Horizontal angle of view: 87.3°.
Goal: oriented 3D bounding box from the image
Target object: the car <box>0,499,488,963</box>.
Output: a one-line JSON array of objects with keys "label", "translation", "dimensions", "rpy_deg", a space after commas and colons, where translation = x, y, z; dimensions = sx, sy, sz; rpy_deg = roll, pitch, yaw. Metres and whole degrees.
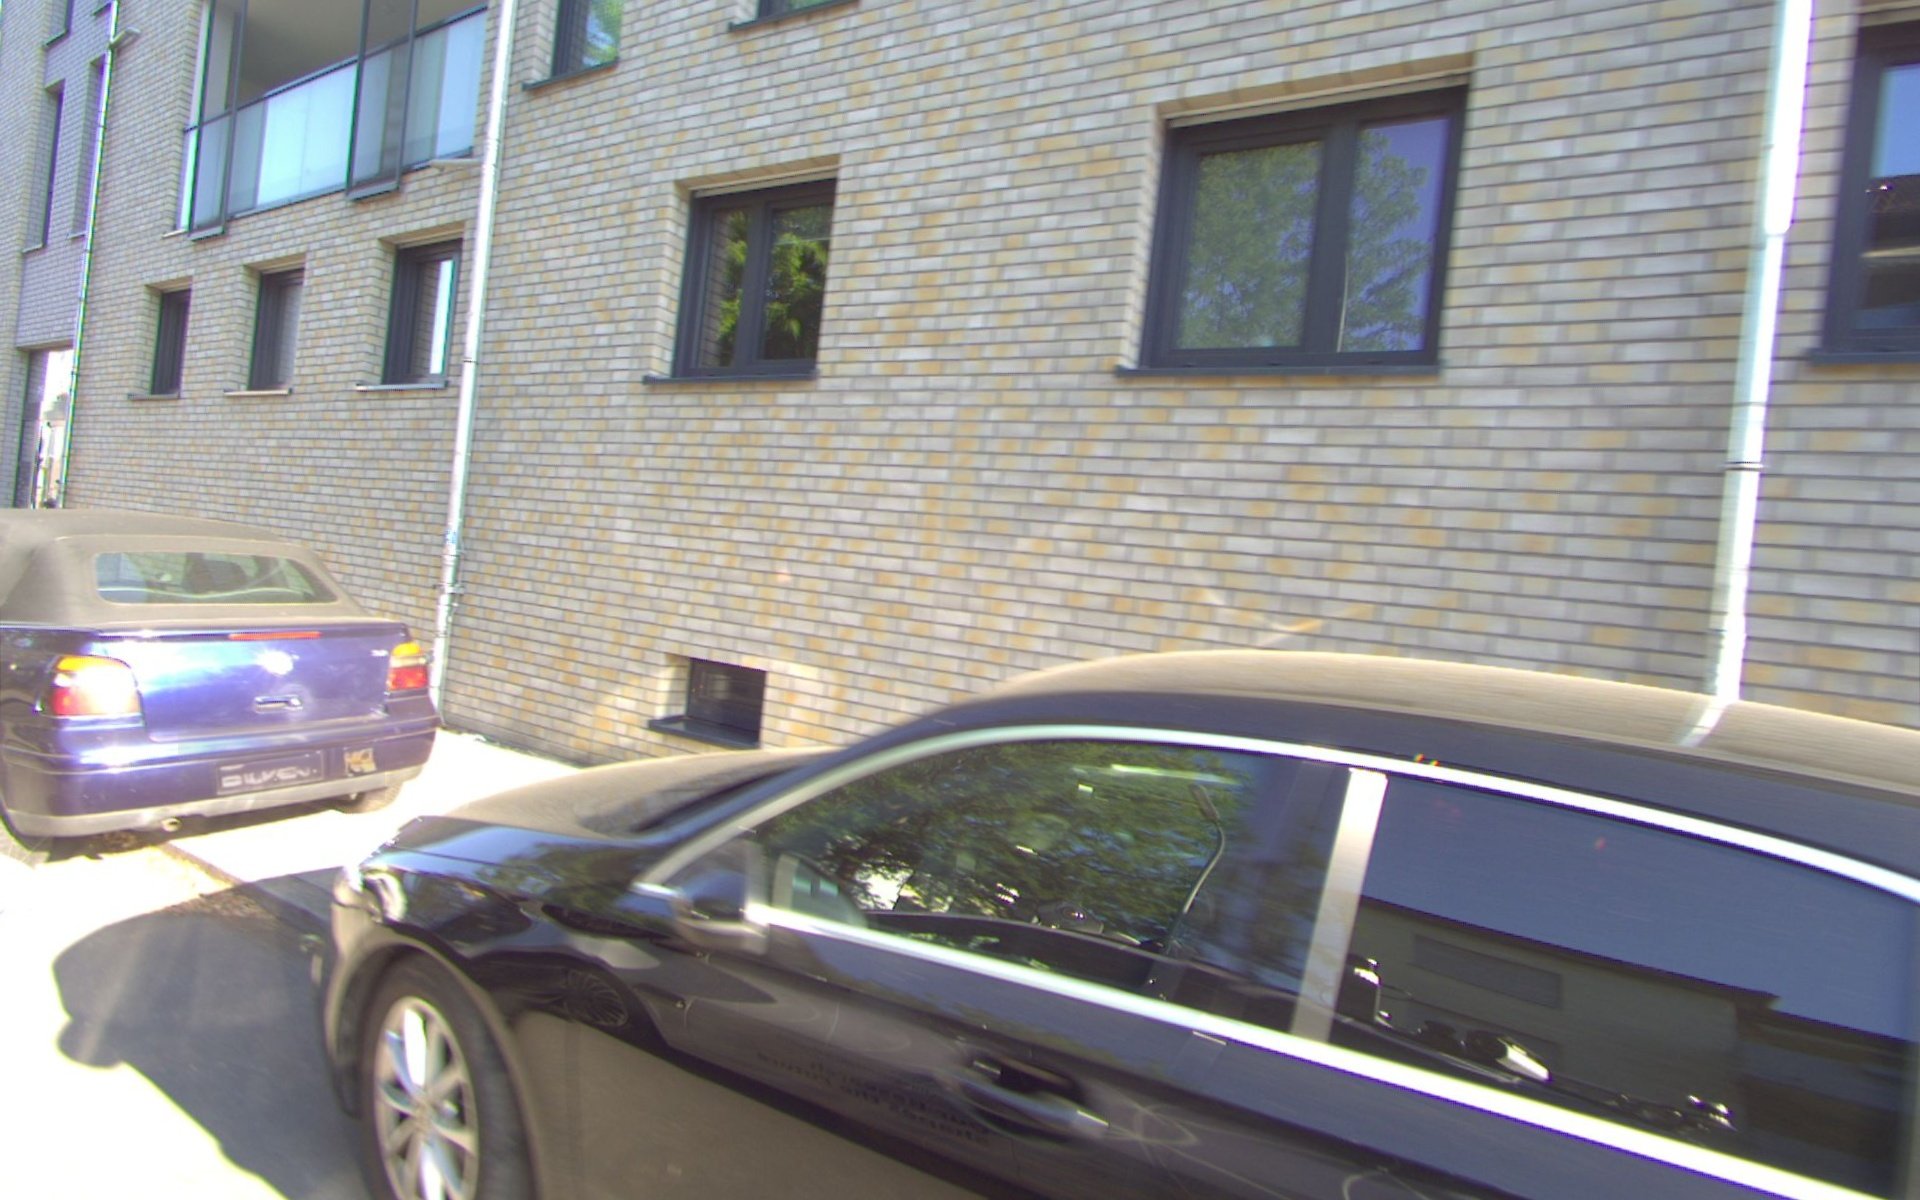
[{"label": "car", "translation": [-4.532, 0.310, 5.160], "dimensions": [4.147, 1.536, 1.665], "rpy_deg": [6, 1, 30]}]

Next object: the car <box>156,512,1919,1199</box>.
[{"label": "car", "translation": [0.342, 0.781, 2.119], "dimensions": [4.549, 1.550, 1.725], "rpy_deg": [6, 3, 32]}]

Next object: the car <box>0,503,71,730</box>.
[{"label": "car", "translation": [-8.560, -0.133, 7.274], "dimensions": [4.639, 1.486, 1.698], "rpy_deg": [6, 1, 29]}]
